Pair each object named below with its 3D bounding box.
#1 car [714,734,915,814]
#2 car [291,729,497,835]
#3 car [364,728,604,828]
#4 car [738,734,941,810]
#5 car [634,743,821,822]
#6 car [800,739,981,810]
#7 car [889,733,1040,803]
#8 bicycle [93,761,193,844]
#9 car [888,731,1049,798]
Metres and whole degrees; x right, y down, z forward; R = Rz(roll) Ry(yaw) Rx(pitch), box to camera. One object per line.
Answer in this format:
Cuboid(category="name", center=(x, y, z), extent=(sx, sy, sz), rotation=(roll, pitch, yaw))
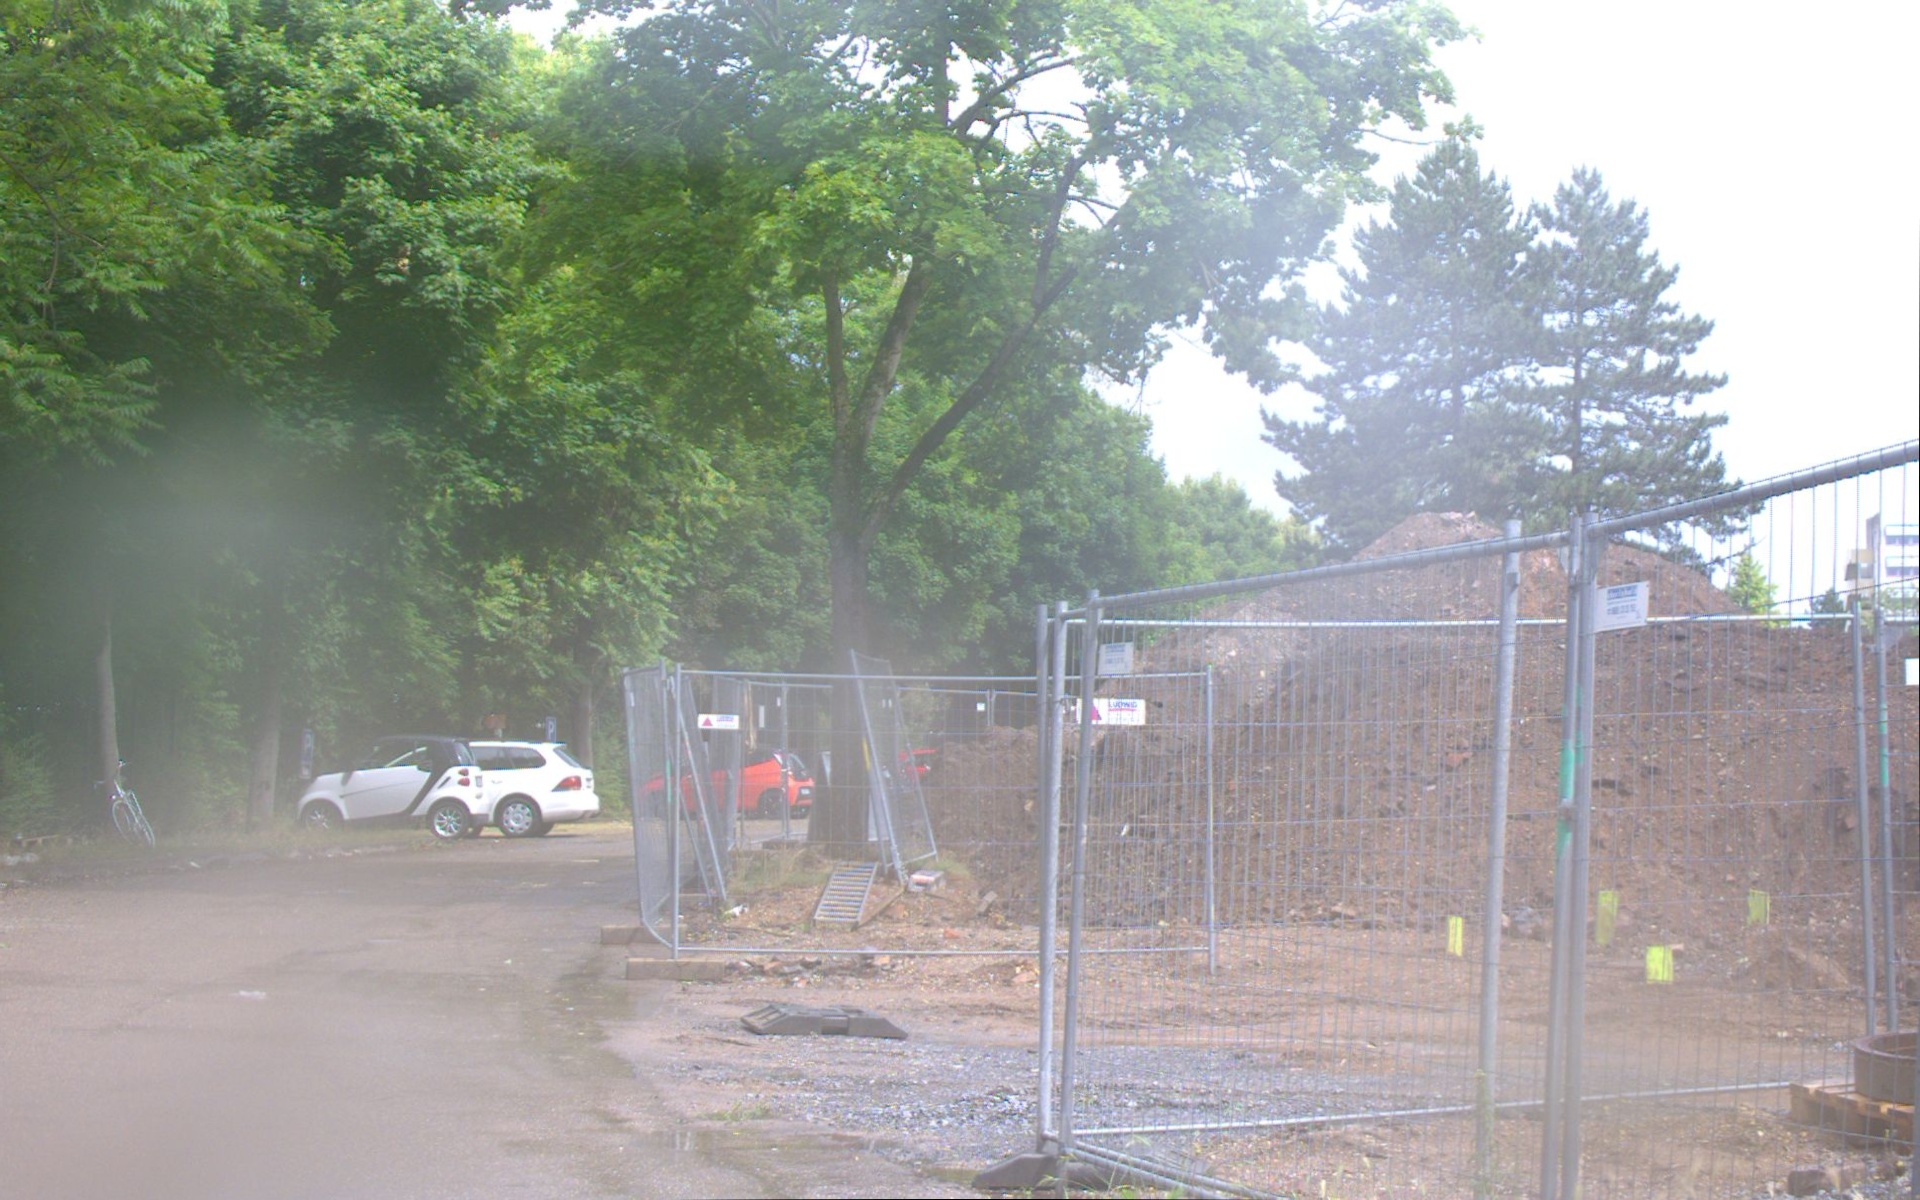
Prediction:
Cuboid(category="car", center=(-3.027, 3.615, 71.833), extent=(3.795, 1.524, 1.908), rotation=(1, -1, 13))
Cuboid(category="car", center=(-8.248, 2.650, 50.279), extent=(2.753, 1.479, 1.593), rotation=(0, -1, 0))
Cuboid(category="car", center=(-7.251, 2.712, 52.553), extent=(3.432, 1.464, 1.740), rotation=(0, -1, 0))
Cuboid(category="car", center=(-2.576, 3.699, 74.068), extent=(3.989, 1.491, 1.992), rotation=(1, -1, 12))
Cuboid(category="car", center=(-4.549, 3.565, 67.422), extent=(3.286, 1.420, 1.591), rotation=(1, -1, 15))
Cuboid(category="car", center=(-1.595, 4.032, 79.775), extent=(3.943, 1.512, 1.805), rotation=(1, -1, 8))
Cuboid(category="car", center=(0.132, 4.159, 85.483), extent=(3.588, 1.615, 1.869), rotation=(1, -1, 5))
Cuboid(category="bicycle", center=(-9.104, 2.248, 38.328), extent=(0.476, 0.857, 1.455), rotation=(1, -1, 13))
Cuboid(category="car", center=(0.230, 4.193, 87.803), extent=(3.858, 1.568, 1.957), rotation=(1, -1, 8))
